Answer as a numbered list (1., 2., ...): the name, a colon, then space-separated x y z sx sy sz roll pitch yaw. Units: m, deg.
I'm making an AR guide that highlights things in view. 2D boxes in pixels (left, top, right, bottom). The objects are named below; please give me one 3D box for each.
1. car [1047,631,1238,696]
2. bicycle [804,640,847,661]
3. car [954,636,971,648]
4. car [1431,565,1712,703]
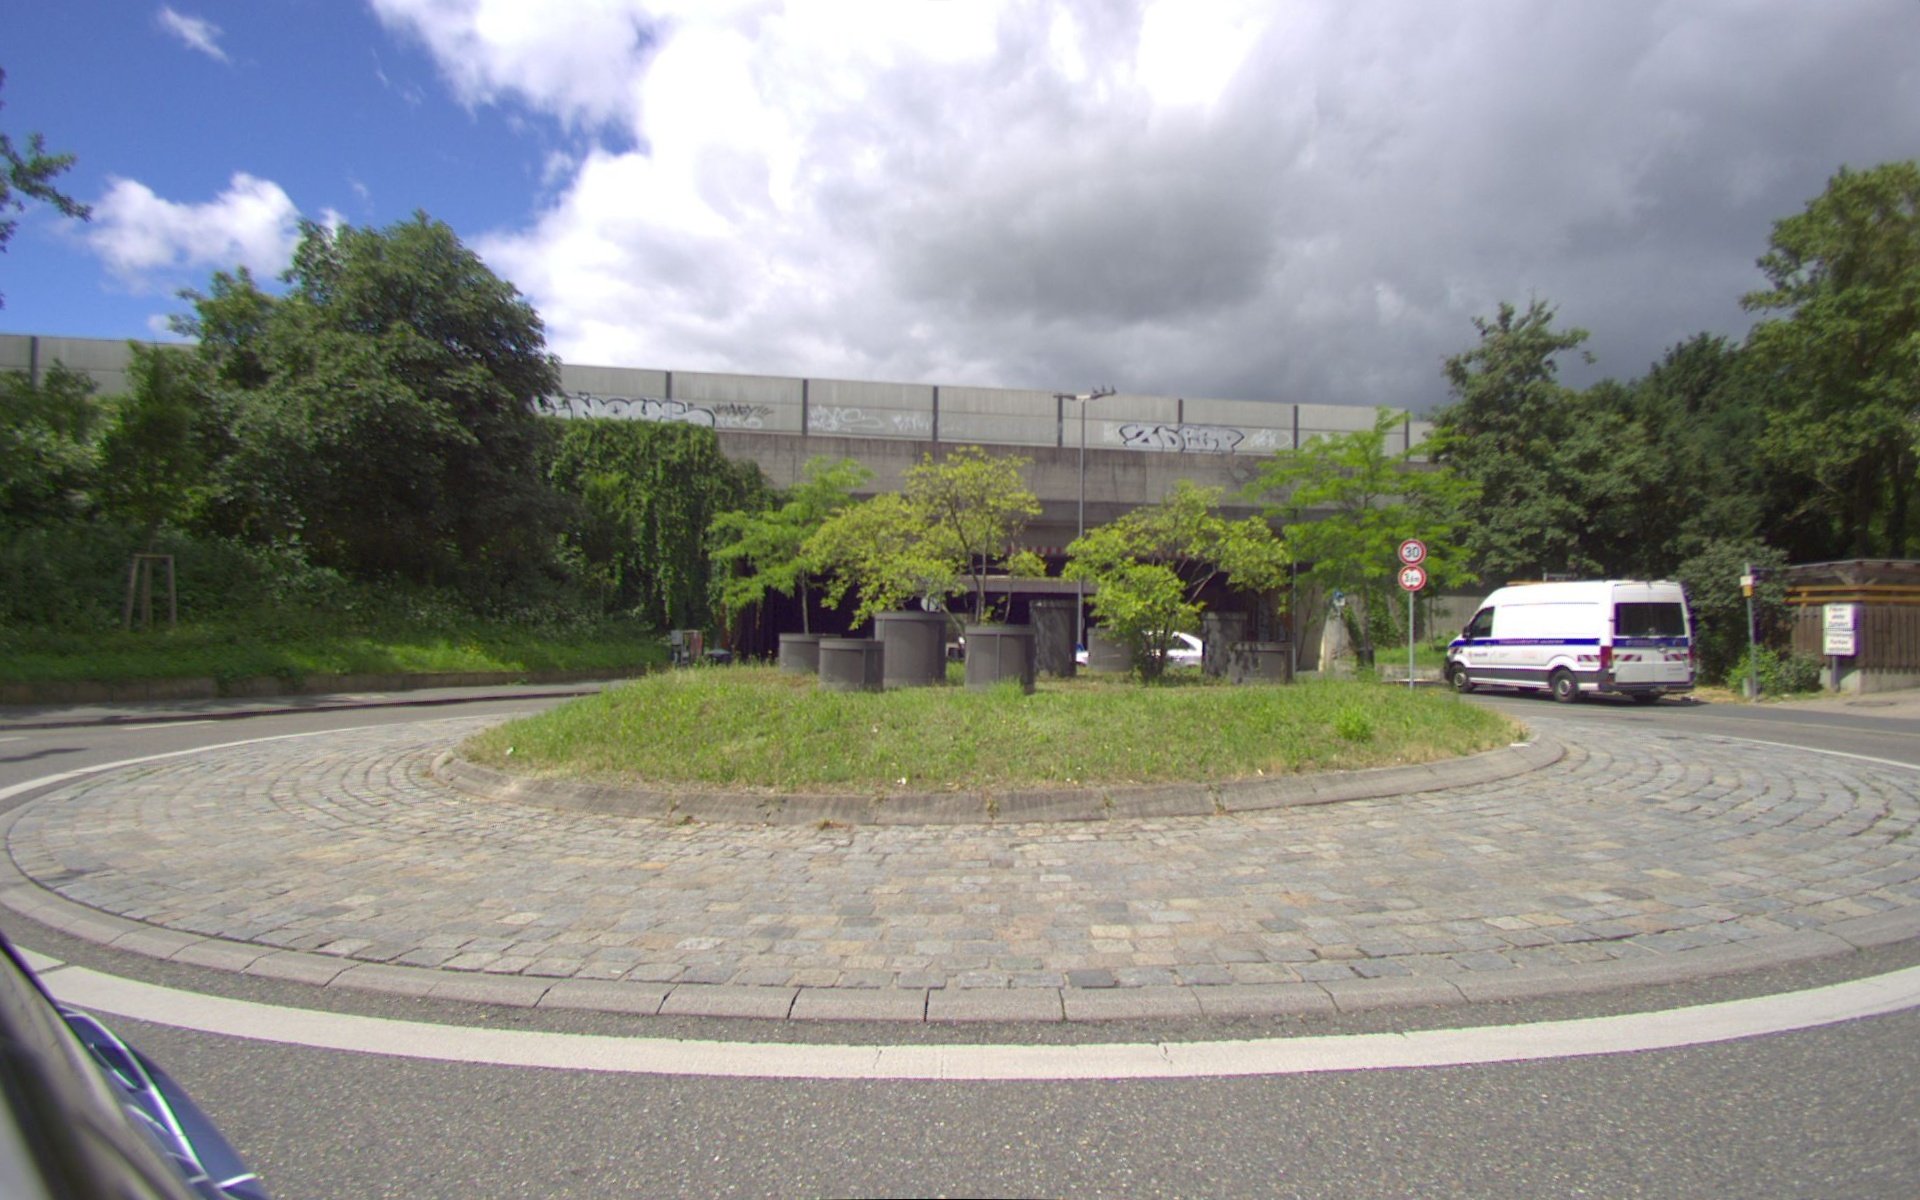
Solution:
1. car: 4.151 1.409 23.112 3.981 1.364 1.699 -1 -2 28
2. bicycle: -6.147 2.296 46.372 1.921 0.911 0.507 2 -2 -6
3. car: 0.352 5.350 129.066 1.651 1.458 3.858 2 -2 -7
4. car: 13.168 0.765 22.454 1.943 2.627 5.940 -1 -2 -7
